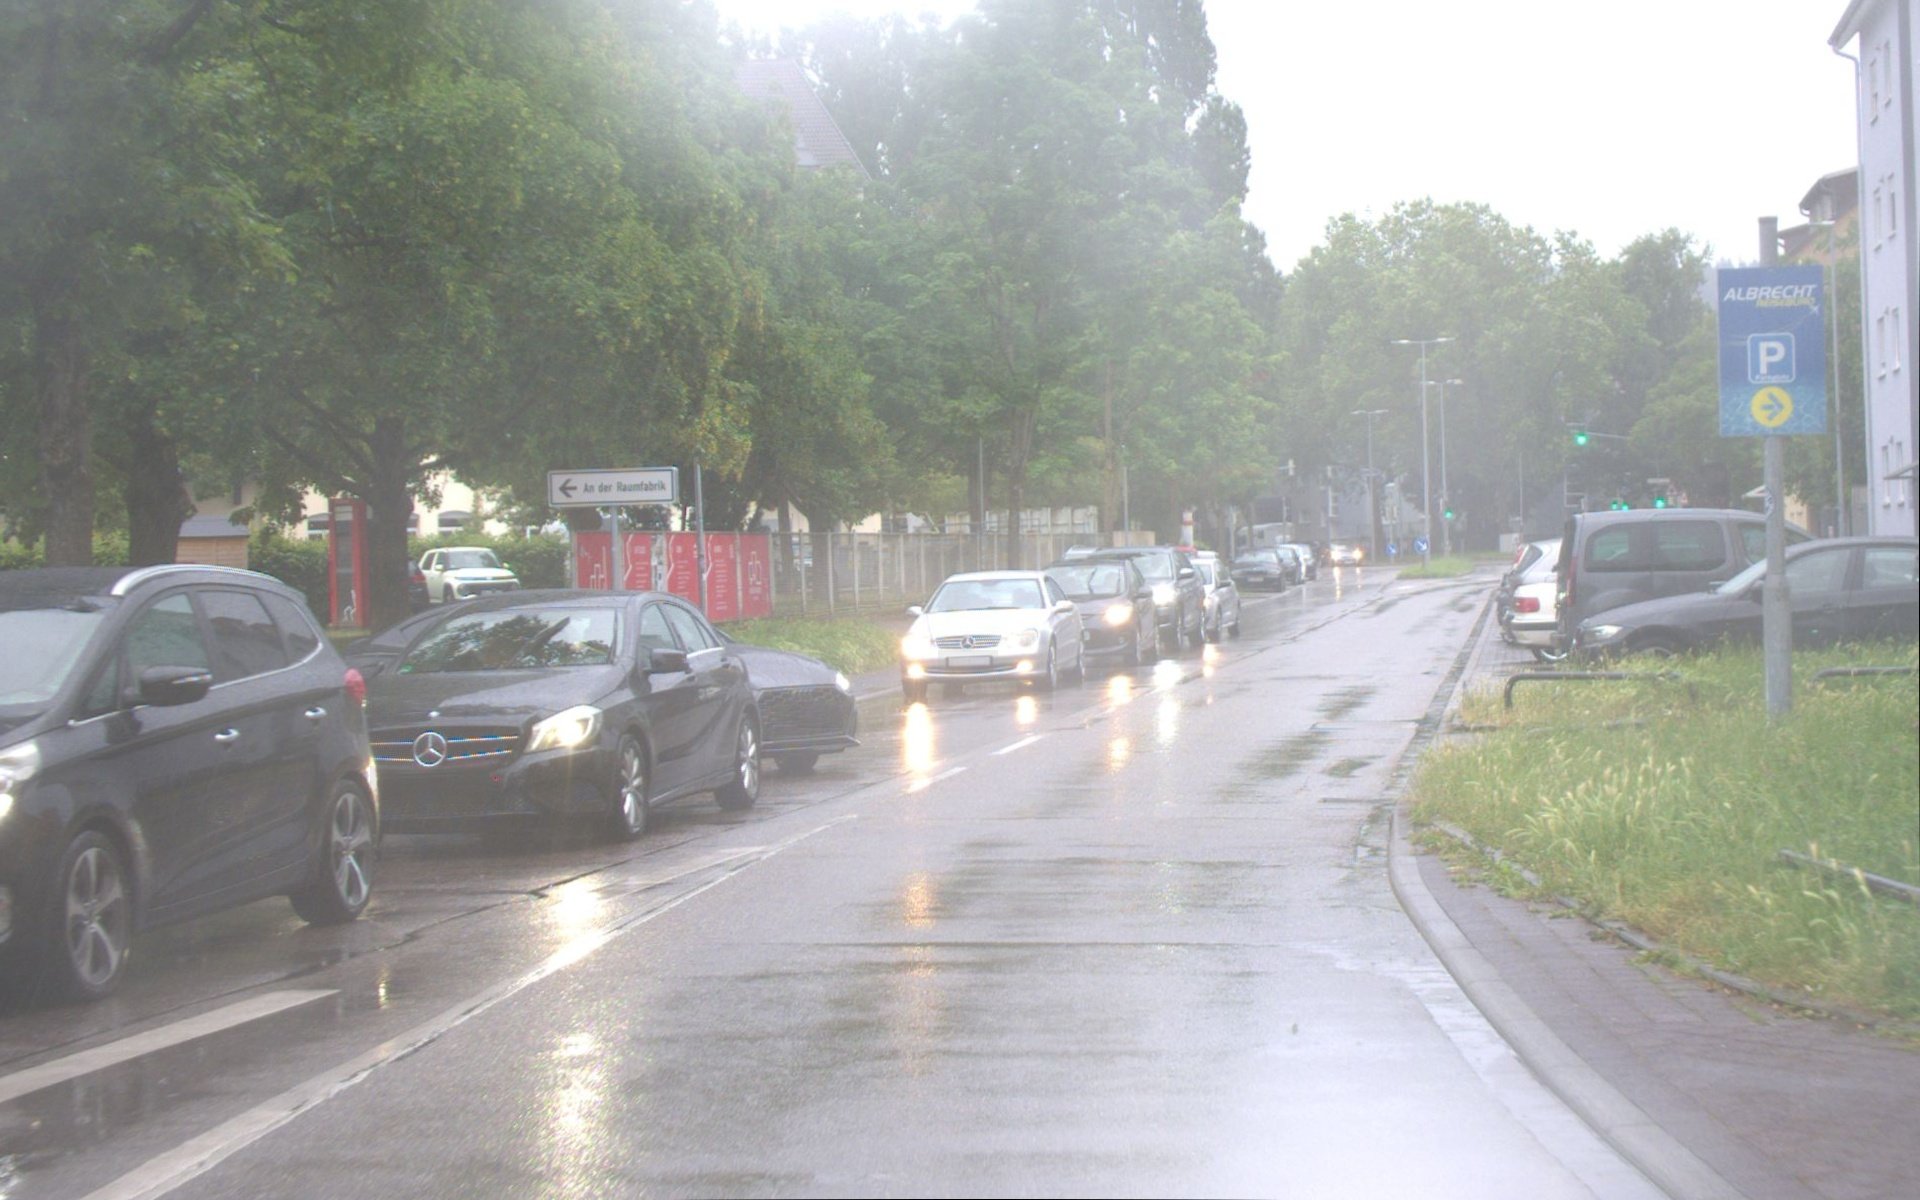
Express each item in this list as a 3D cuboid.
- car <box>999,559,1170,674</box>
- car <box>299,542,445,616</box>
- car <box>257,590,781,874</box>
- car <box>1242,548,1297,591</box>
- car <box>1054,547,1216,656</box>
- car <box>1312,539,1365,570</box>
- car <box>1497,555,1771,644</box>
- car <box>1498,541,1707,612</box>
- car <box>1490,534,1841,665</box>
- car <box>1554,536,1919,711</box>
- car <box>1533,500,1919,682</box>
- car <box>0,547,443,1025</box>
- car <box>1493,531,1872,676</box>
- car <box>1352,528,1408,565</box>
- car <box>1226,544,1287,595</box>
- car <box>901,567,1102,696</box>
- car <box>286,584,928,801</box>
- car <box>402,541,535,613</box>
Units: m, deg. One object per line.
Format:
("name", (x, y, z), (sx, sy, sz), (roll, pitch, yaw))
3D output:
("car", (1.772, 0.193, 47.528), (1.779, 1.415, 4.264), (-2, 1, 9))
("car", (-13.310, -0.466, 77.679), (1.993, 1.552, 4.000), (-2, 0, -29))
("car", (-2.442, 0.694, 20.185), (1.727, 1.356, 4.335), (-2, 1, 11))
("car", (11.370, -1.128, 126.104), (1.929, 1.479, 3.999), (-2, 1, 6))
("car", (2.817, -0.004, 54.288), (1.915, 1.634, 4.819), (-1, 1, 11))
("car", (21.066, -2.519, 191.437), (1.740, 1.683, 4.001), (-1, 1, -12))
("car", (9.906, -0.020, 50.573), (3.856, 1.203, 1.955), (-1, 1, 11))
("car", (13.830, -0.508, 73.983), (4.272, 1.449, 1.983), (-1, 2, 15))
("car", (8.765, -0.007, 43.001), (4.182, 1.566, 1.890), (-1, 0, 8))
("car", (7.753, 0.184, 31.401), (4.535, 1.465, 1.982), (-2, 0, 10))
("car", (8.537, -0.105, 37.802), (4.233, 1.799, 1.944), (-2, 0, 6))
("car", (-3.786, 0.677, 13.915), (1.868, 1.614, 4.800), (-2, -1, 10))
("car", (8.423, 0.040, 40.410), (4.191, 1.563, 1.888), (-1, 0, 8))
("car", (23.470, -2.991, 192.214), (1.993, 2.007, 4.001), (-2, 1, -10))
("car", (9.575, -0.999, 111.399), (1.775, 1.524, 4.000), (-1, 2, 2))
("car", (0.554, 0.330, 40.418), (1.775, 1.398, 4.829), (-1, 1, 8))
("car", (-2.784, 0.673, 26.343), (4.924, 1.449, 2.081), (-1, 1, 42))
("car", (-11.293, -0.516, 78.763), (1.844, 1.567, 4.000), (-1, 0, -26))
